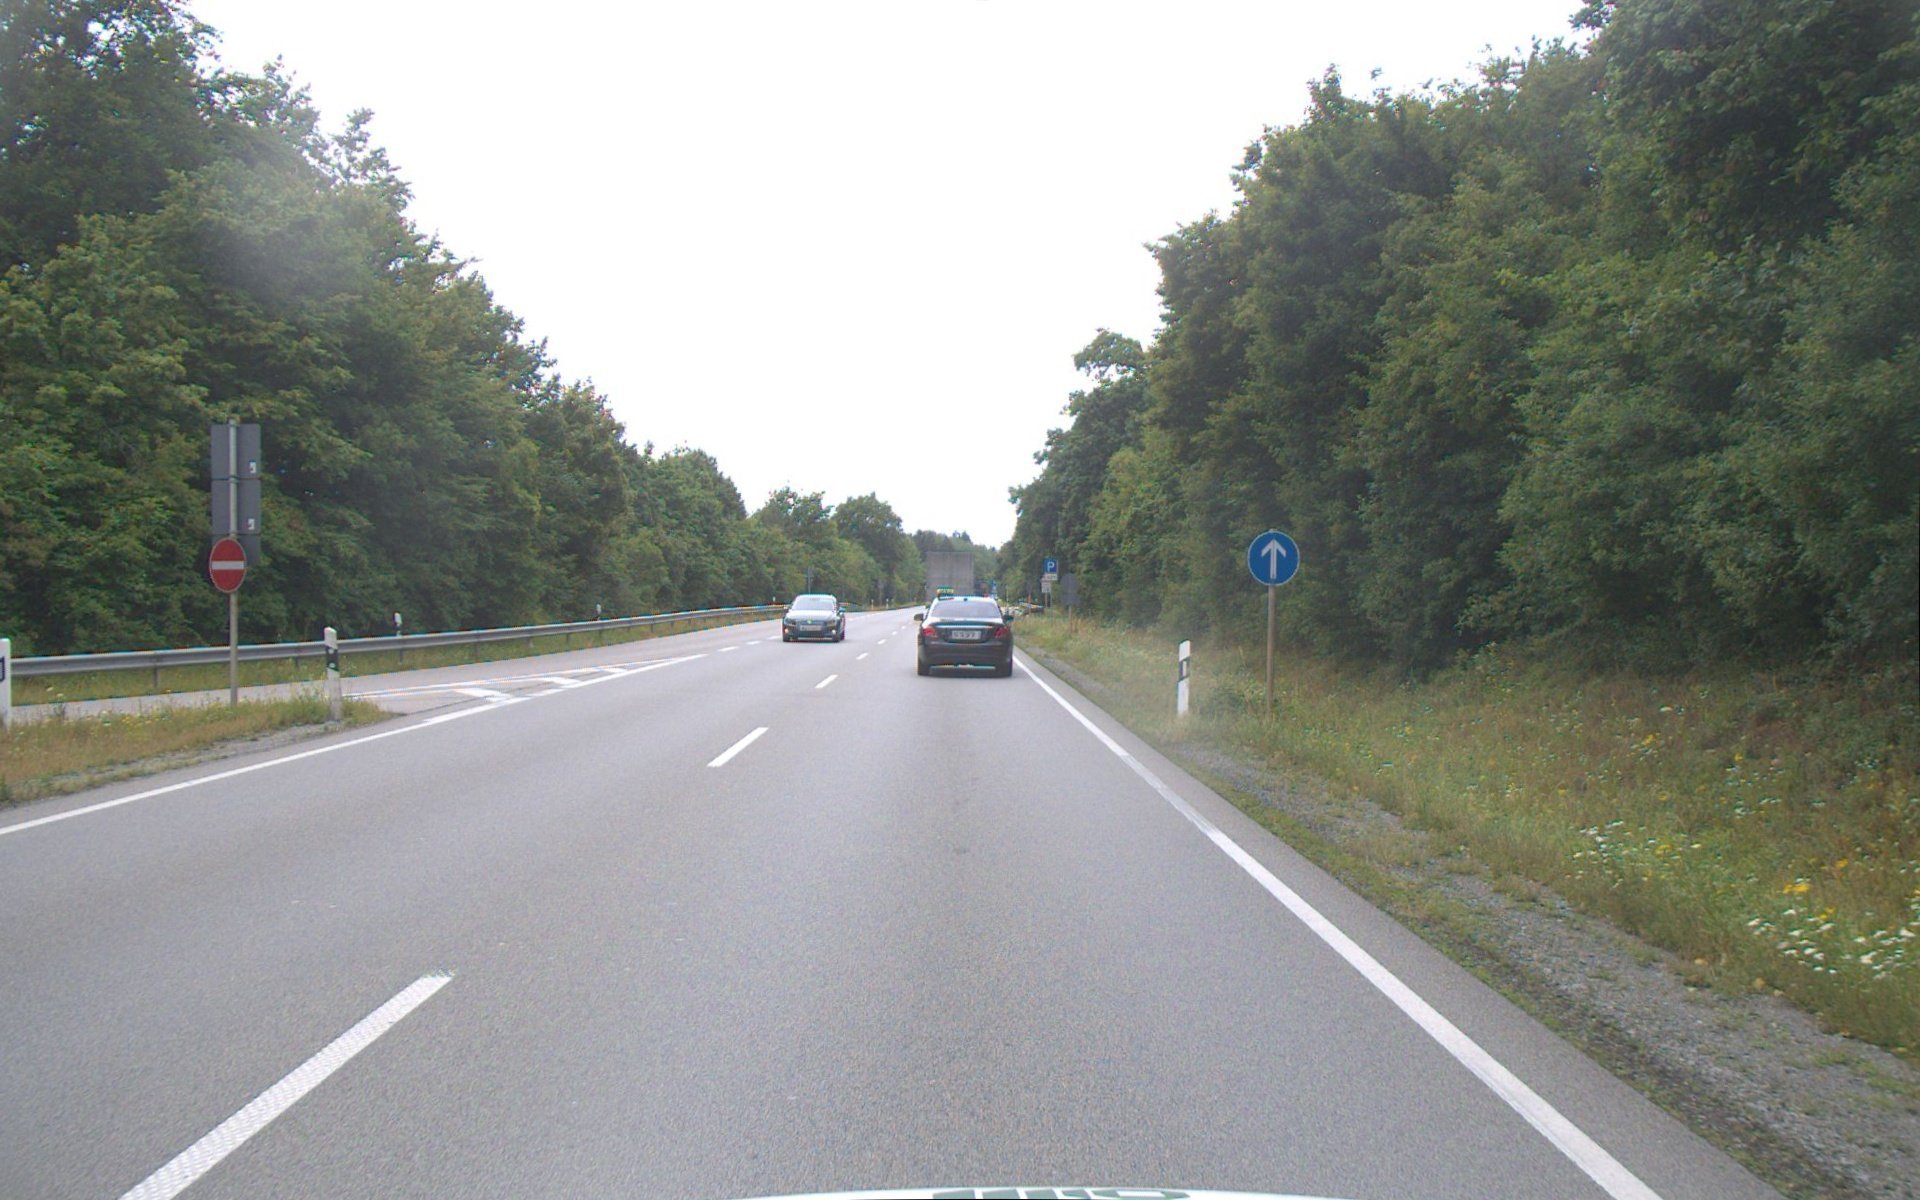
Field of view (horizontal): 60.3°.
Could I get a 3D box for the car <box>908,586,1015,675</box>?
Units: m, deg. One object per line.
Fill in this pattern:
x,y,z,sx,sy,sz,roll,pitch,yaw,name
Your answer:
-0.033,0.552,31.960,1.756,1.579,3.996,1,0,-5,car

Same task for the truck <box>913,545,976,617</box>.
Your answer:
-0.839,-0.973,91.304,3.214,3.675,11.398,1,0,-1,truck

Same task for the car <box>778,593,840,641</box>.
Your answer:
-4.838,0.527,53.390,1.772,1.467,4.445,1,0,-3,car
